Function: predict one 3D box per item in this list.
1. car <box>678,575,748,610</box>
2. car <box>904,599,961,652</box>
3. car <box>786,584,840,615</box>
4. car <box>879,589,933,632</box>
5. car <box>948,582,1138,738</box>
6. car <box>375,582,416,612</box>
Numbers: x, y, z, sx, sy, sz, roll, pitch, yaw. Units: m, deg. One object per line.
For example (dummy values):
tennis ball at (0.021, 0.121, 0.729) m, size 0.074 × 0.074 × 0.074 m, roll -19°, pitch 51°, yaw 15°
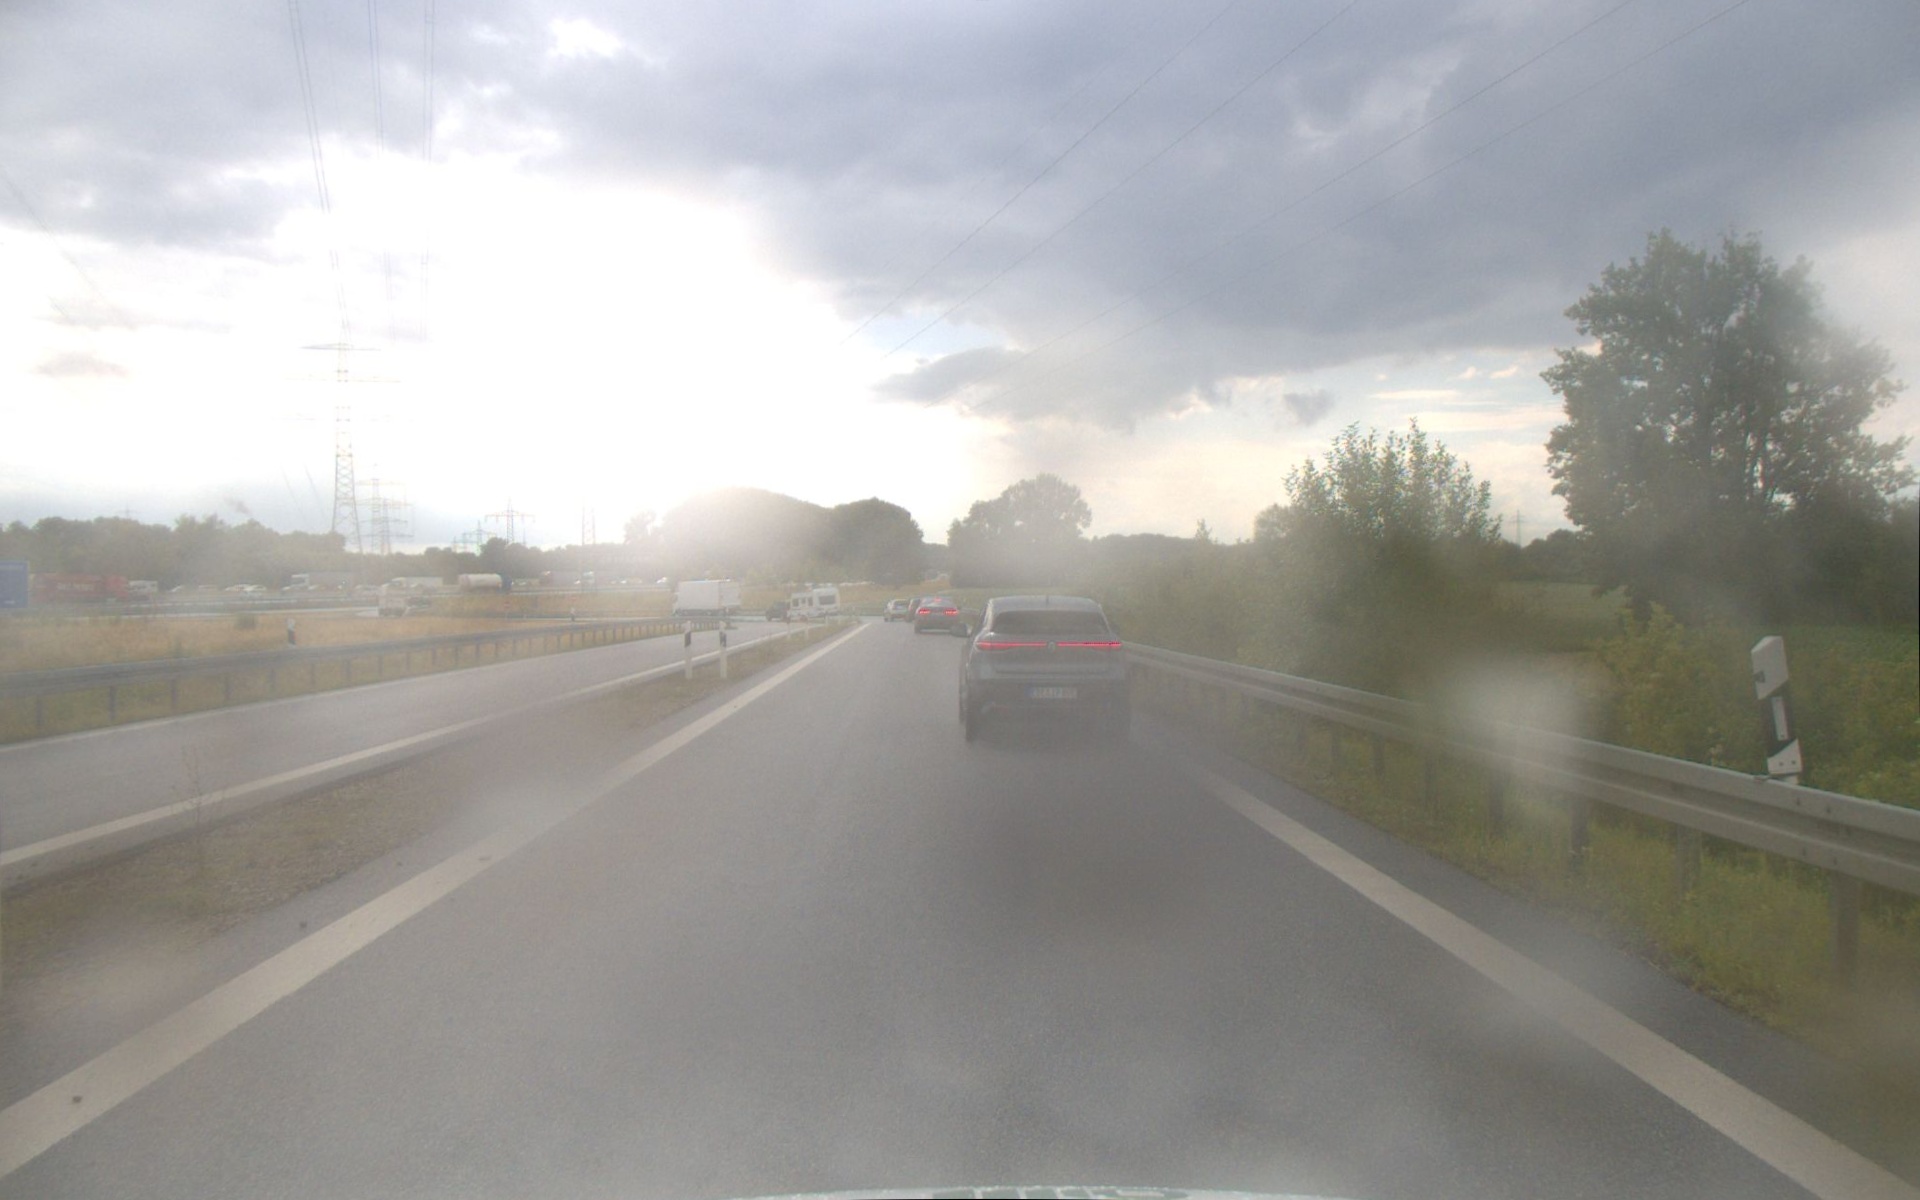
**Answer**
car at (-23.487, -0.759, 156.880) m, size 3.122 × 3.002 × 7.094 m, roll -3°, pitch 4°, yaw -43°
car at (-1.208, 1.033, 69.767) m, size 2.079 × 2.053 × 5.530 m, roll -1°, pitch 1°, yaw -4°
car at (-12.252, -0.069, 137.901) m, size 2.332 × 2.346 × 5.067 m, roll -2°, pitch 3°, yaw -34°
car at (-3.409, 0.621, 103.298) m, size 2.312 × 2.346 × 5.110 m, roll -1°, pitch 3°, yaw -15°
car at (0.879, 0.598, 19.060) m, size 1.952 × 1.594 × 4.149 m, roll 0°, pitch 0°, yaw 1°
car at (-71.387, -0.433, 209.088) m, size 3.347 × 3.673 × 8.956 m, roll -1°, pitch 1°, yaw -29°
